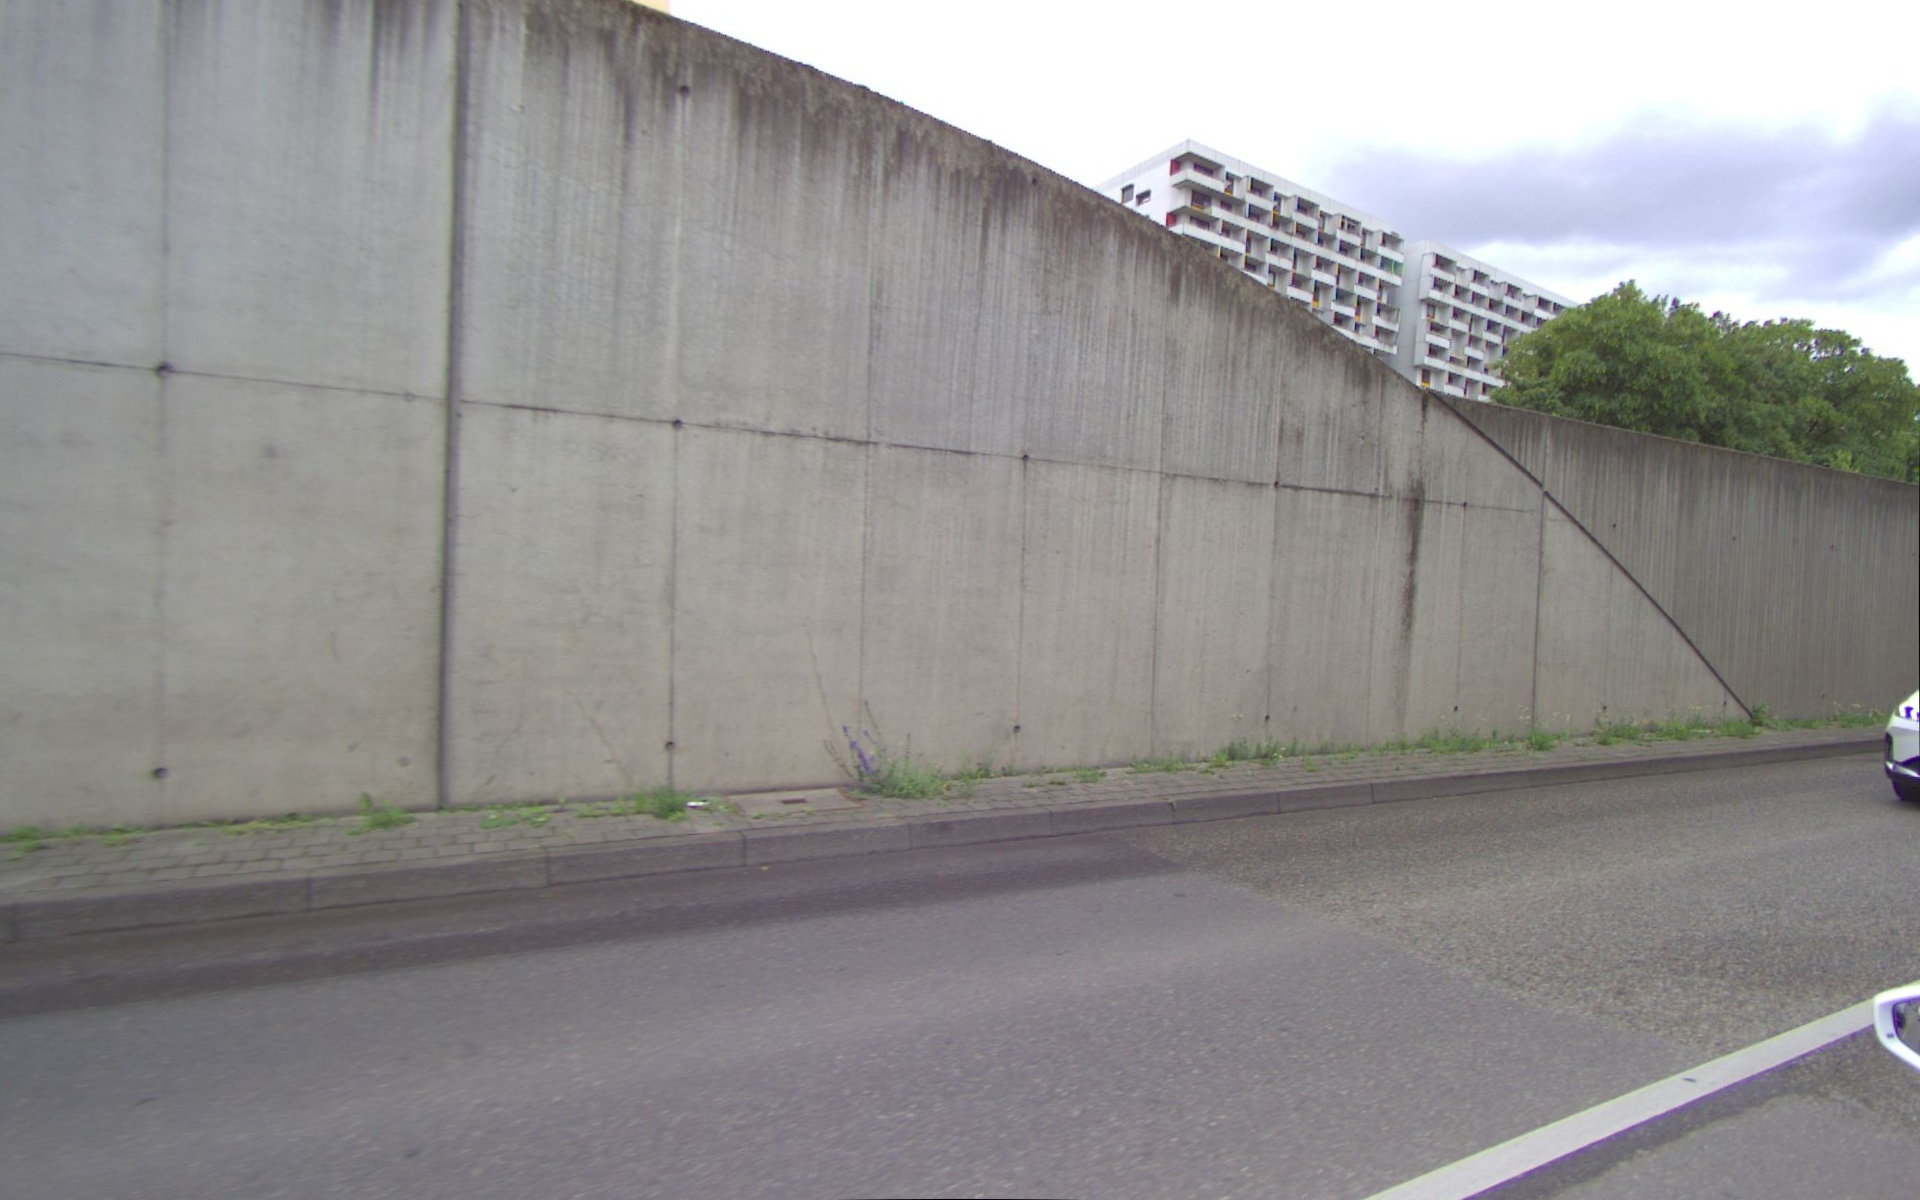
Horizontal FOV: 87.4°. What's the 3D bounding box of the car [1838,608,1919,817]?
[{"bbox_3d":[9.772,0.964,8.690,4.372,1.654,1.882,1,1,-29],"label":"car"}]
